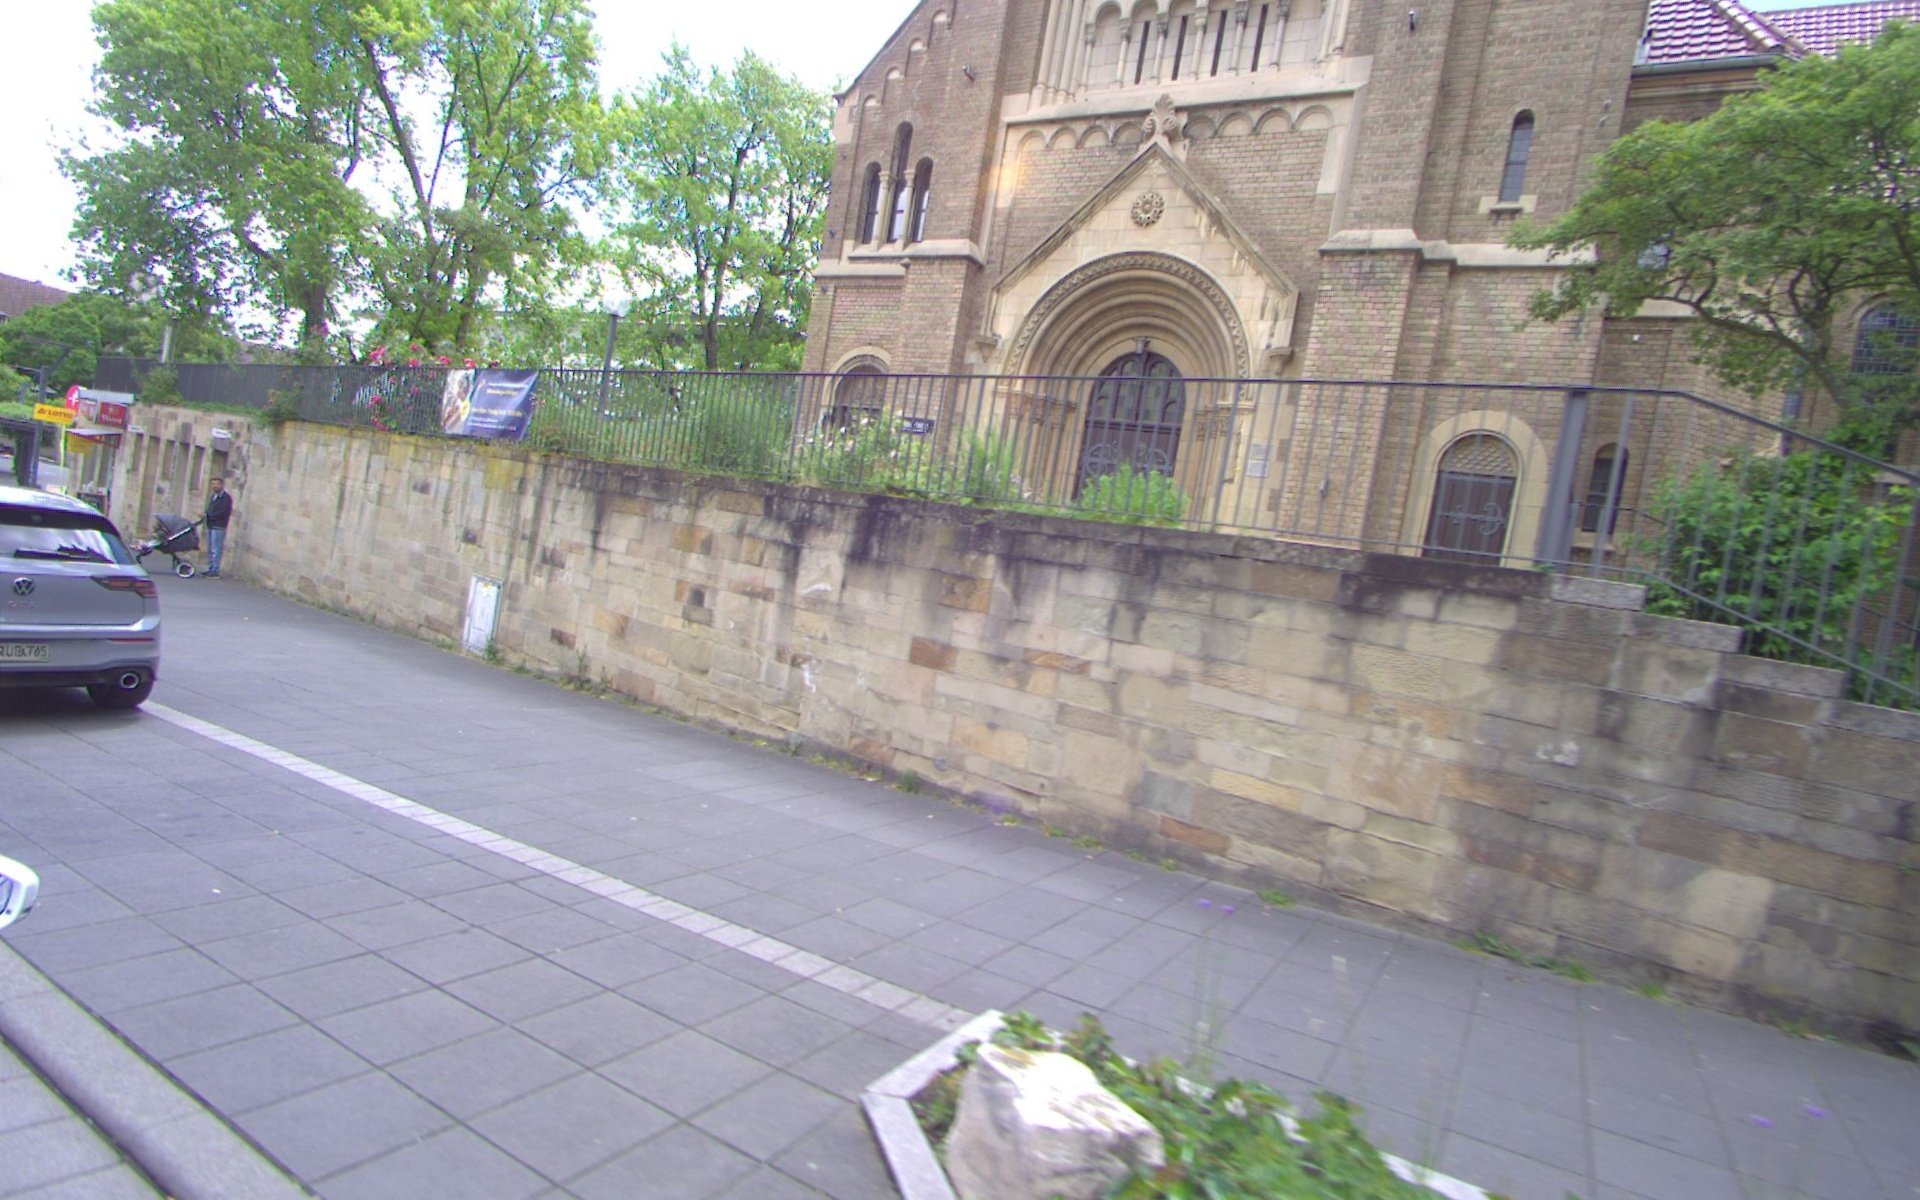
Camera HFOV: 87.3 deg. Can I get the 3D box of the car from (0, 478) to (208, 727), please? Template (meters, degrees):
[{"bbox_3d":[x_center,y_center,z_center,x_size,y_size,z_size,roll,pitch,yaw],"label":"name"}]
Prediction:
[{"bbox_3d":[-7.266,-0.178,7.008,4.020,1.459,1.756,7,1,30],"label":"car"}]

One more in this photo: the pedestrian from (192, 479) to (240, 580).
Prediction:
[{"bbox_3d":[-12.917,-1.223,17.470,0.500,1.667,0.471,8,2,44],"label":"pedestrian"}]

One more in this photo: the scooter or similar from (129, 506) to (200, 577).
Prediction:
[{"bbox_3d":[-13.419,-0.980,16.971,0.553,1.086,0.810,8,2,43],"label":"scooter or similar"}]
